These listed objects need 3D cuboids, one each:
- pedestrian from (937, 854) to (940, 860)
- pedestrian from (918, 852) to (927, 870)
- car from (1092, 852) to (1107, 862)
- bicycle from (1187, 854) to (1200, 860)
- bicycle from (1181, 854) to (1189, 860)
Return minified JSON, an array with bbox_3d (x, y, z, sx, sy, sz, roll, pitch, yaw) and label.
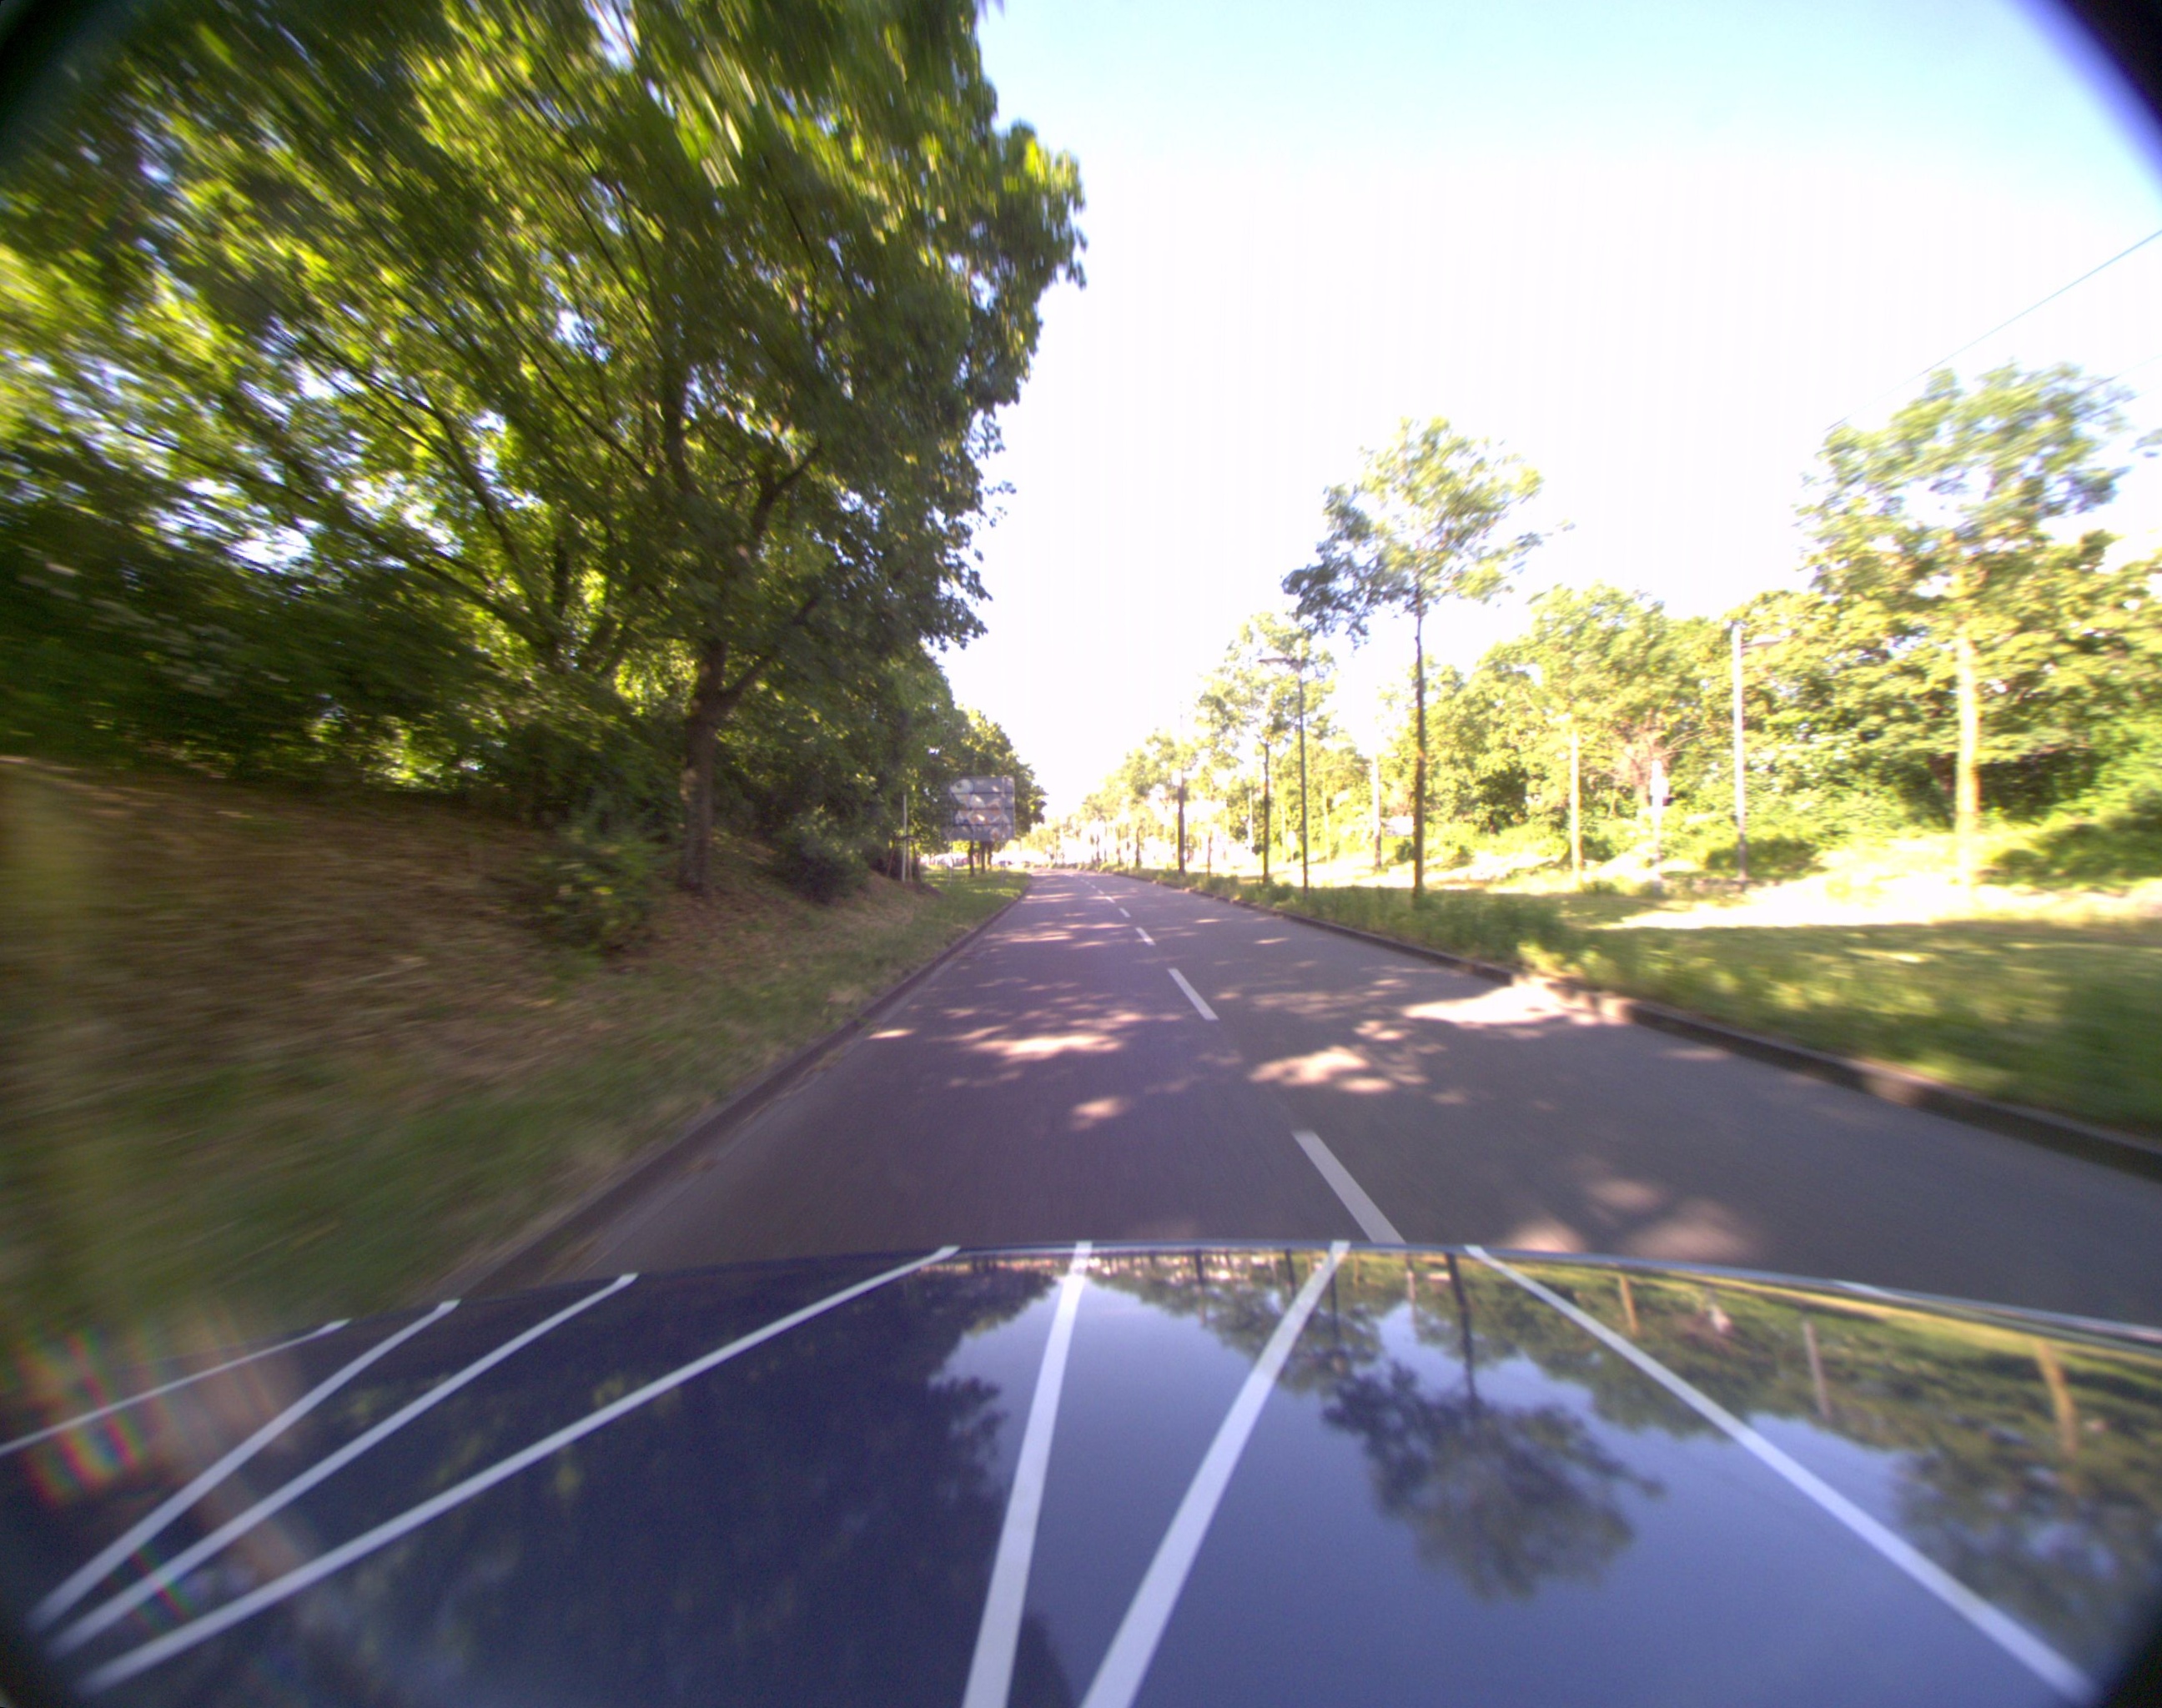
[{"bbox_3d":[-36.715,0.778,195.560,0.733,1.687,0.734,-1,0,-17],"label":"pedestrian"},{"bbox_3d":[-15.839,0.680,75.863,0.718,1.793,0.793,-1,0,-6],"label":"pedestrian"},{"bbox_3d":[3.881,0.643,158.818,1.826,1.630,4.485,-1,-3,-16],"label":"car"},{"bbox_3d":[24.254,0.678,163.841,2.554,1.205,0.718,-1,0,-17],"label":"bicycle"},{"bbox_3d":[22.567,0.695,165.198,0.720,1.205,2.549,-1,0,-17],"label":"bicycle"}]
